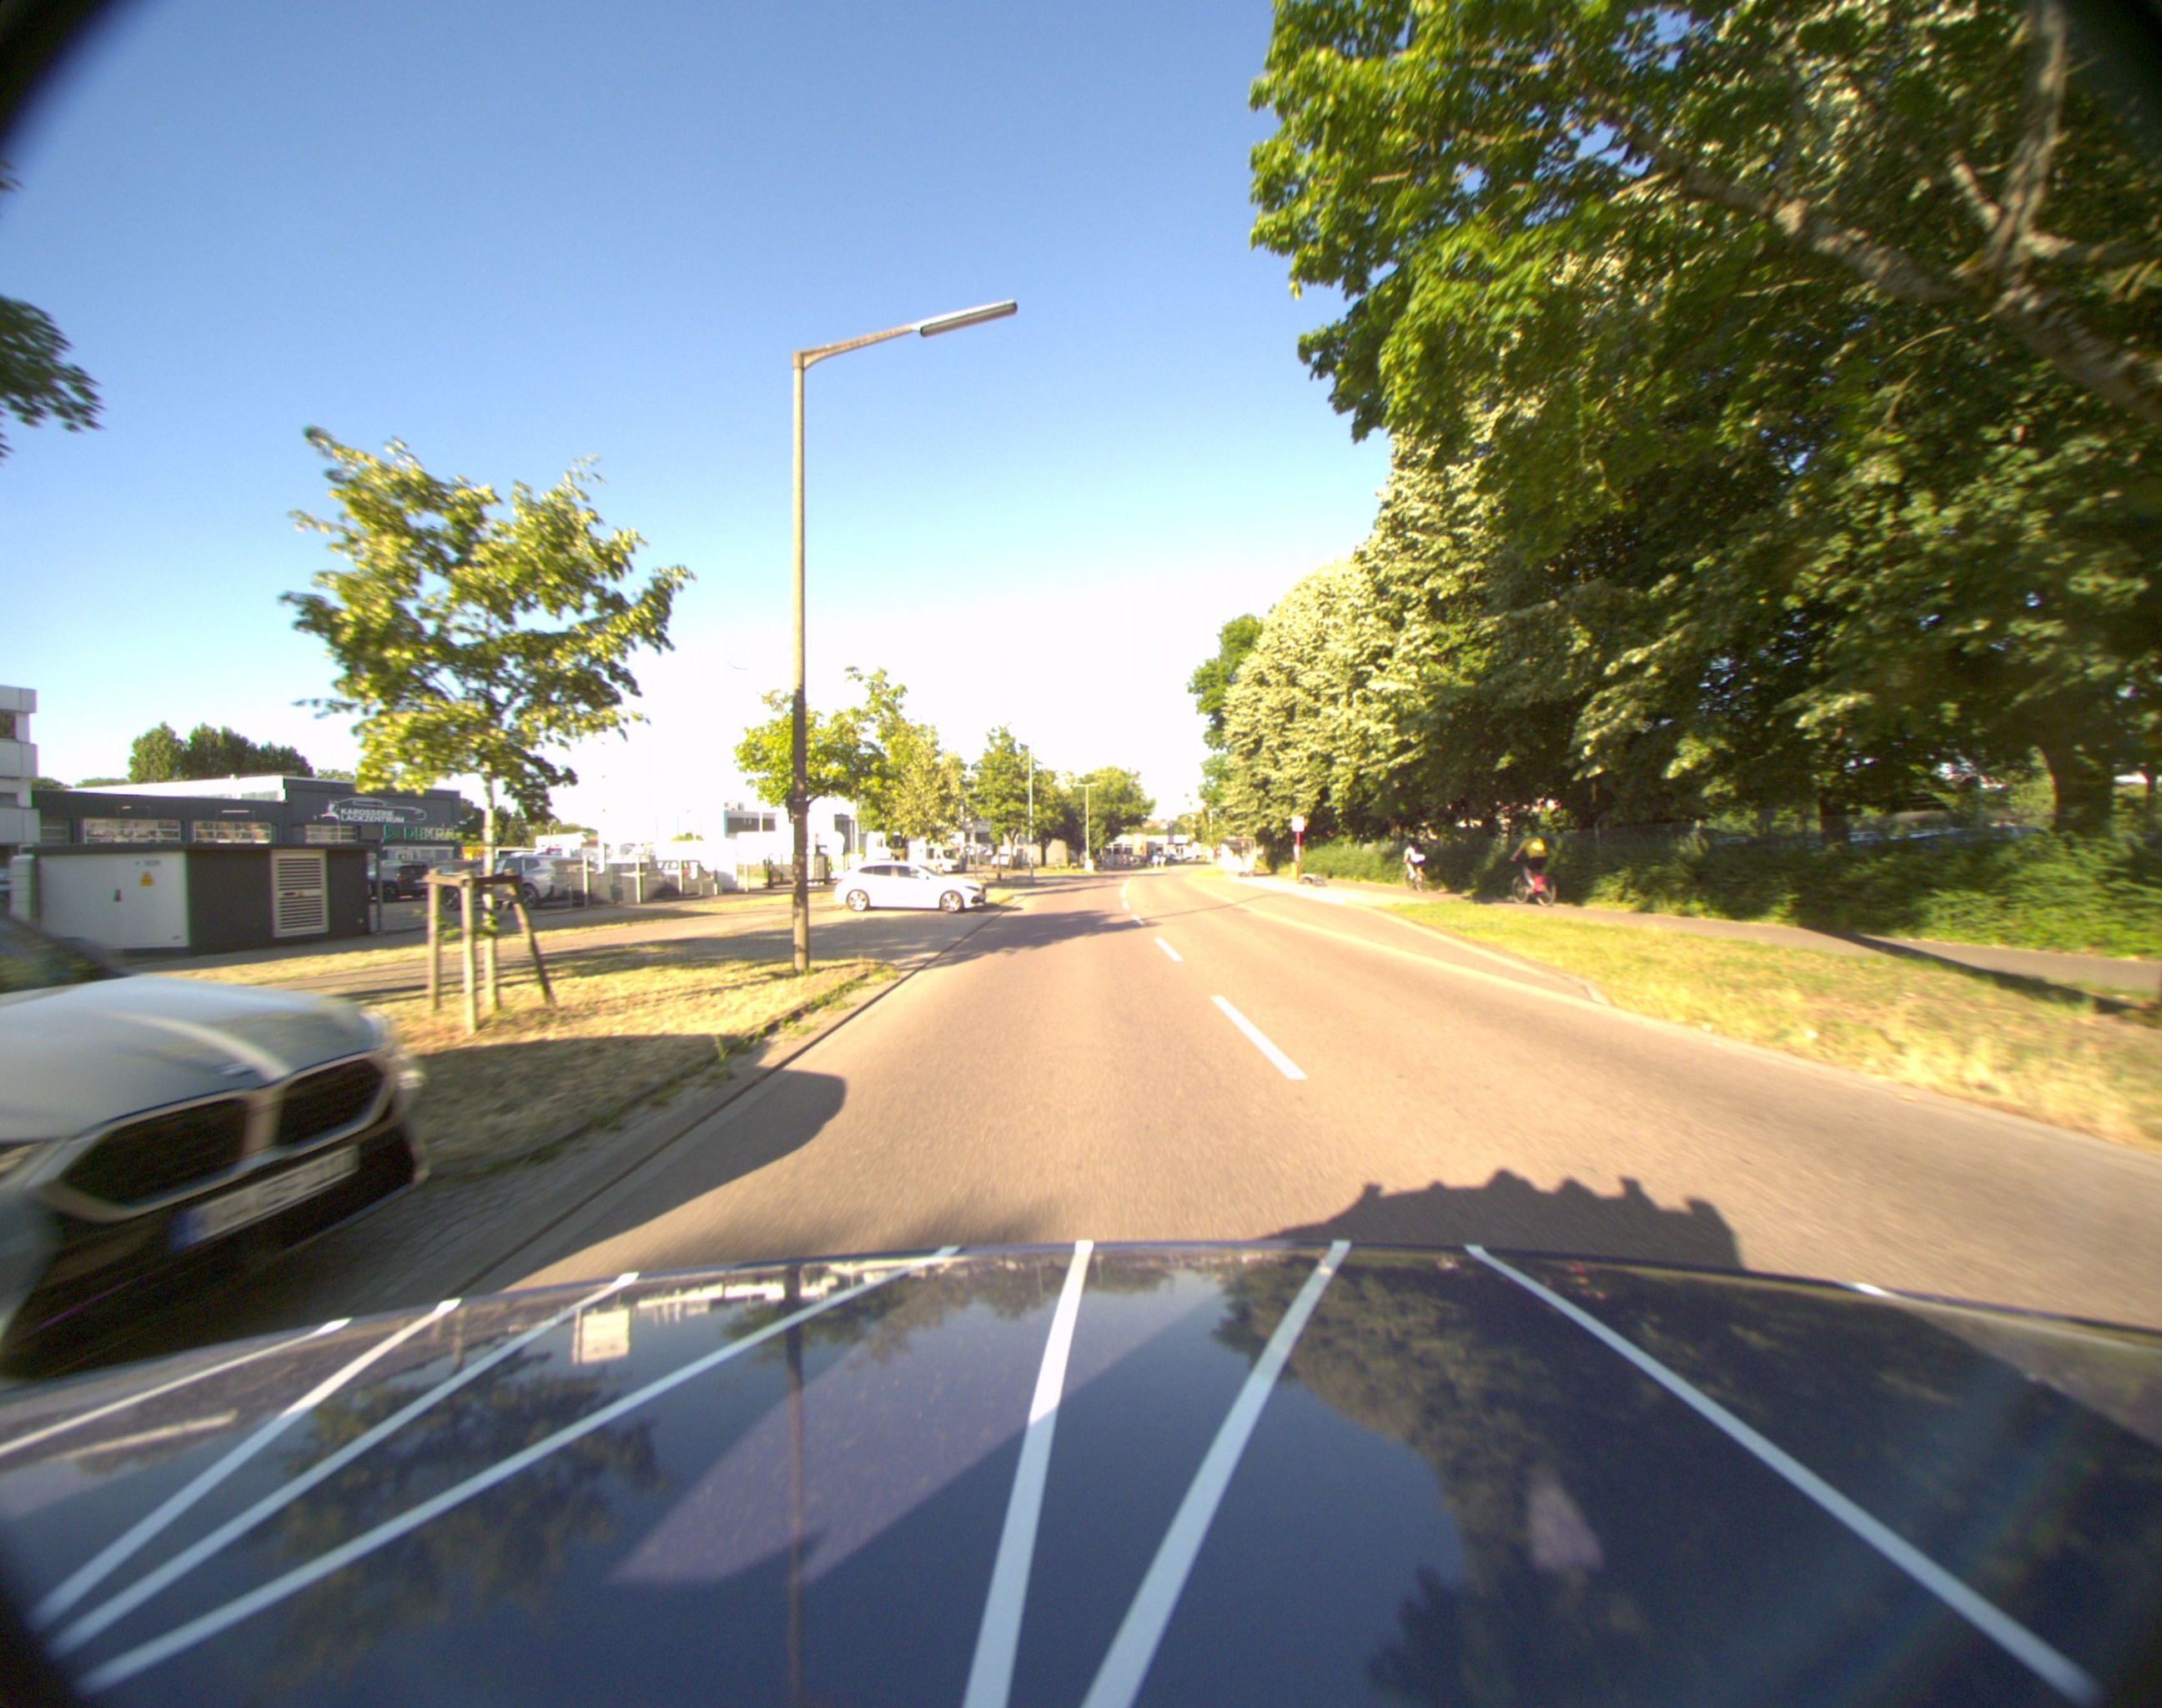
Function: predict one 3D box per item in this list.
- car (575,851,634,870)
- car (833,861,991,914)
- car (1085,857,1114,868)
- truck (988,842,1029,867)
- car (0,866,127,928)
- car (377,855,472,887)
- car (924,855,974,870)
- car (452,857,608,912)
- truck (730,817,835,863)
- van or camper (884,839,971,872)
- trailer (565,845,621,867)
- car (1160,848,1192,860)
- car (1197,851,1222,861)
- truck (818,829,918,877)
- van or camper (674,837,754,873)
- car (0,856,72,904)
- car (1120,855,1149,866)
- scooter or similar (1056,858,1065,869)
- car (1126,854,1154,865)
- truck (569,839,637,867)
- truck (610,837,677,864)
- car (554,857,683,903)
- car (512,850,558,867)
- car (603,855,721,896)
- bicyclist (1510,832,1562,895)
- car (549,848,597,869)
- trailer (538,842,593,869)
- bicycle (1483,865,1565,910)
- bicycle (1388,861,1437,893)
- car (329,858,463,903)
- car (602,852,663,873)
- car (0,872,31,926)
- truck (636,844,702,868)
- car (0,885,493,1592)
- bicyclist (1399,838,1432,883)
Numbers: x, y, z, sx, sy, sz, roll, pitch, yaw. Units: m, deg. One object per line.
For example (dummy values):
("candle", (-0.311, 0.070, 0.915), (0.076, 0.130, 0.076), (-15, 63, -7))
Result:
("car", (-52.081, 0.710, 83.154), (1.994, 2.002, 5.061), (0, 0, 31))
("car", (-4.900, 0.963, 22.492), (4.209, 1.435, 2.088), (1, 0, -1))
("car", (3.228, 1.482, 133.238), (4.833, 2.002, 2.305), (-1, 0, 39))
("truck", (-8.328, 0.060, 88.165), (2.541, 2.704, 5.980), (0, 0, 18))
("car", (-28.572, 1.162, 20.666), (3.991, 1.568, 2.004), (0, -4, 20))
("car", (-33.764, 0.869, 39.095), (3.991, 1.569, 2.003), (0, 0, 20))
("car", (-13.043, 0.811, 75.343), (4.813, 1.483, 1.999), (0, 0, -8))
("car", (-17.074, 0.896, 23.571), (3.991, 1.569, 2.003), (0, 0, 20))
("truck", (-25.364, -1.055, 64.288), (10.090, 3.623, 3.302), (0, 0, 36))
("van or camper", (-14.159, 0.116, 69.777), (7.989, 2.883, 2.948), (0, 0, 32))
("trailer", (-54.965, 0.189, 85.686), (1.994, 2.422, 4.868), (0, 0, 33))
("car", (17.334, 0.028, 138.618), (5.275, 2.002, 2.410), (-1, 0, 41))
("car", (25.693, 0.447, 151.963), (2.304, 2.002, 4.835), (-1, 0, -34))
("truck", (-16.638, -0.062, 59.149), (8.230, 3.501, 3.122), (0, 0, 37))
("van or camper", (-34.588, 0.104, 71.563), (8.116, 3.309, 2.419), (0, 0, 28))
("car", (-40.851, 0.952, 28.704), (3.992, 1.731, 2.003), (0, 0, 17))
("car", (9.747, 1.157, 137.855), (4.833, 2.002, 2.305), (-1, 0, 41))
("scooter or similar", (-2.136, 0.976, 79.101), (0.547, 1.189, 1.483), (0, 0, 15))
("car", (10.878, 1.103, 140.582), (4.833, 2.002, 2.305), (-1, 0, 41))
("truck", (-63.068, -0.172, 100.378), (2.669, 3.554, 7.128), (0, 0, 33))
("truck", (-55.440, -0.413, 96.463), (1.994, 3.331, 7.128), (0, 0, 33))
("car", (-17.050, 0.922, 28.036), (3.991, 1.569, 2.003), (0, 0, 20))
("car", (-65.543, 0.509, 91.230), (1.994, 2.002, 4.008), (0, 0, 32))
("car", (-16.776, 0.828, 30.478), (3.991, 1.569, 2.003), (0, 0, 20))
("bicyclist", (11.247, 0.239, 18.820), (0.732, 1.521, 0.951), (0, 1, 1))
("car", (-57.461, 0.501, 86.009), (2.083, 2.264, 4.008), (0, 0, 33))
("trailer", (-59.910, 0.135, 88.370), (1.994, 3.051, 4.868), (0, 0, 33))
("bicycle", (10.968, 0.798, 18.915), (0.767, 1.033, 2.217), (0, 0, 1))
("bicycle", (11.570, 0.772, 26.584), (0.767, 1.033, 2.217), (-1, 0, 1))
("car", (-26.723, 0.996, 29.673), (3.991, 1.570, 2.163), (0, 3, 20))
("car", (-47.134, 0.867, 79.983), (1.995, 2.001, 5.061), (-3, -1, 31))
("car", (-33.482, 1.294, 22.310), (3.991, 1.568, 2.004), (0, -4, 20))
("truck", (-51.462, 0.242, 95.115), (1.994, 2.889, 7.128), (0, 0, 33))
("car", (-4.848, 0.918, 2.250), (4.603, 1.575, 1.999), (1, 0, -2))
("bicyclist", (11.547, 0.226, 26.270), (0.732, 1.521, 0.951), (0, 1, 1))
